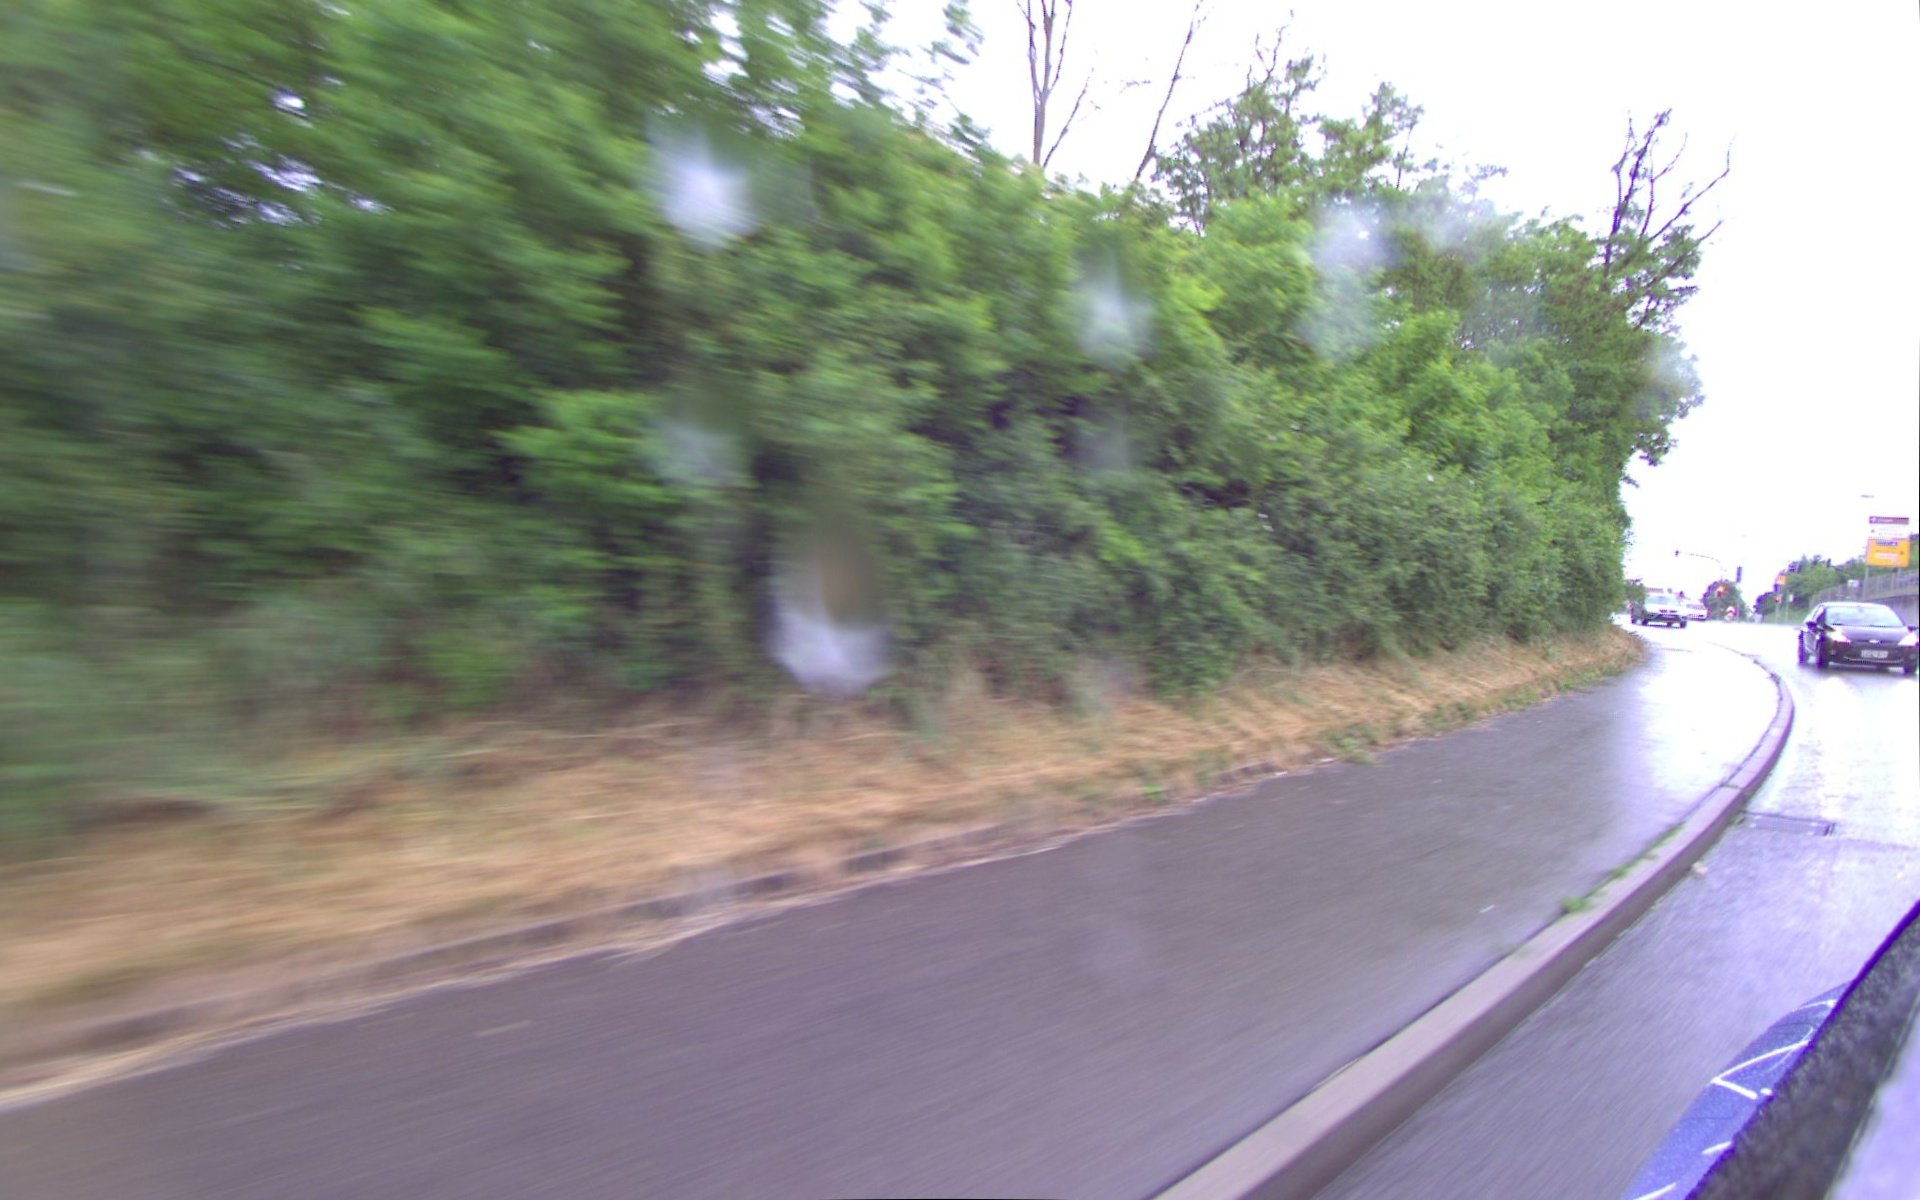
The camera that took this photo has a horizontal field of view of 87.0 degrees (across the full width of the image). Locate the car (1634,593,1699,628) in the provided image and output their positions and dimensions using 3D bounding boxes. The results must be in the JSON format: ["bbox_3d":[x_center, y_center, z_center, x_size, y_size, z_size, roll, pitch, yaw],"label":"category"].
[{"bbox_3d":[33.605,0.457,48.238,1.858,1.458,4.336,5,3,27],"label":"car"}]

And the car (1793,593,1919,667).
[{"bbox_3d":[20.703,0.615,23.154,1.861,1.459,4.330,2,2,31],"label":"car"}]

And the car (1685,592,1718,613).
[{"bbox_3d":[59.074,0.146,80.691,1.726,1.478,3.681,3,3,31],"label":"car"}]

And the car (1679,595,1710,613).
[{"bbox_3d":[62.016,0.302,85.459,1.726,1.320,3.681,3,3,31],"label":"car"}]
